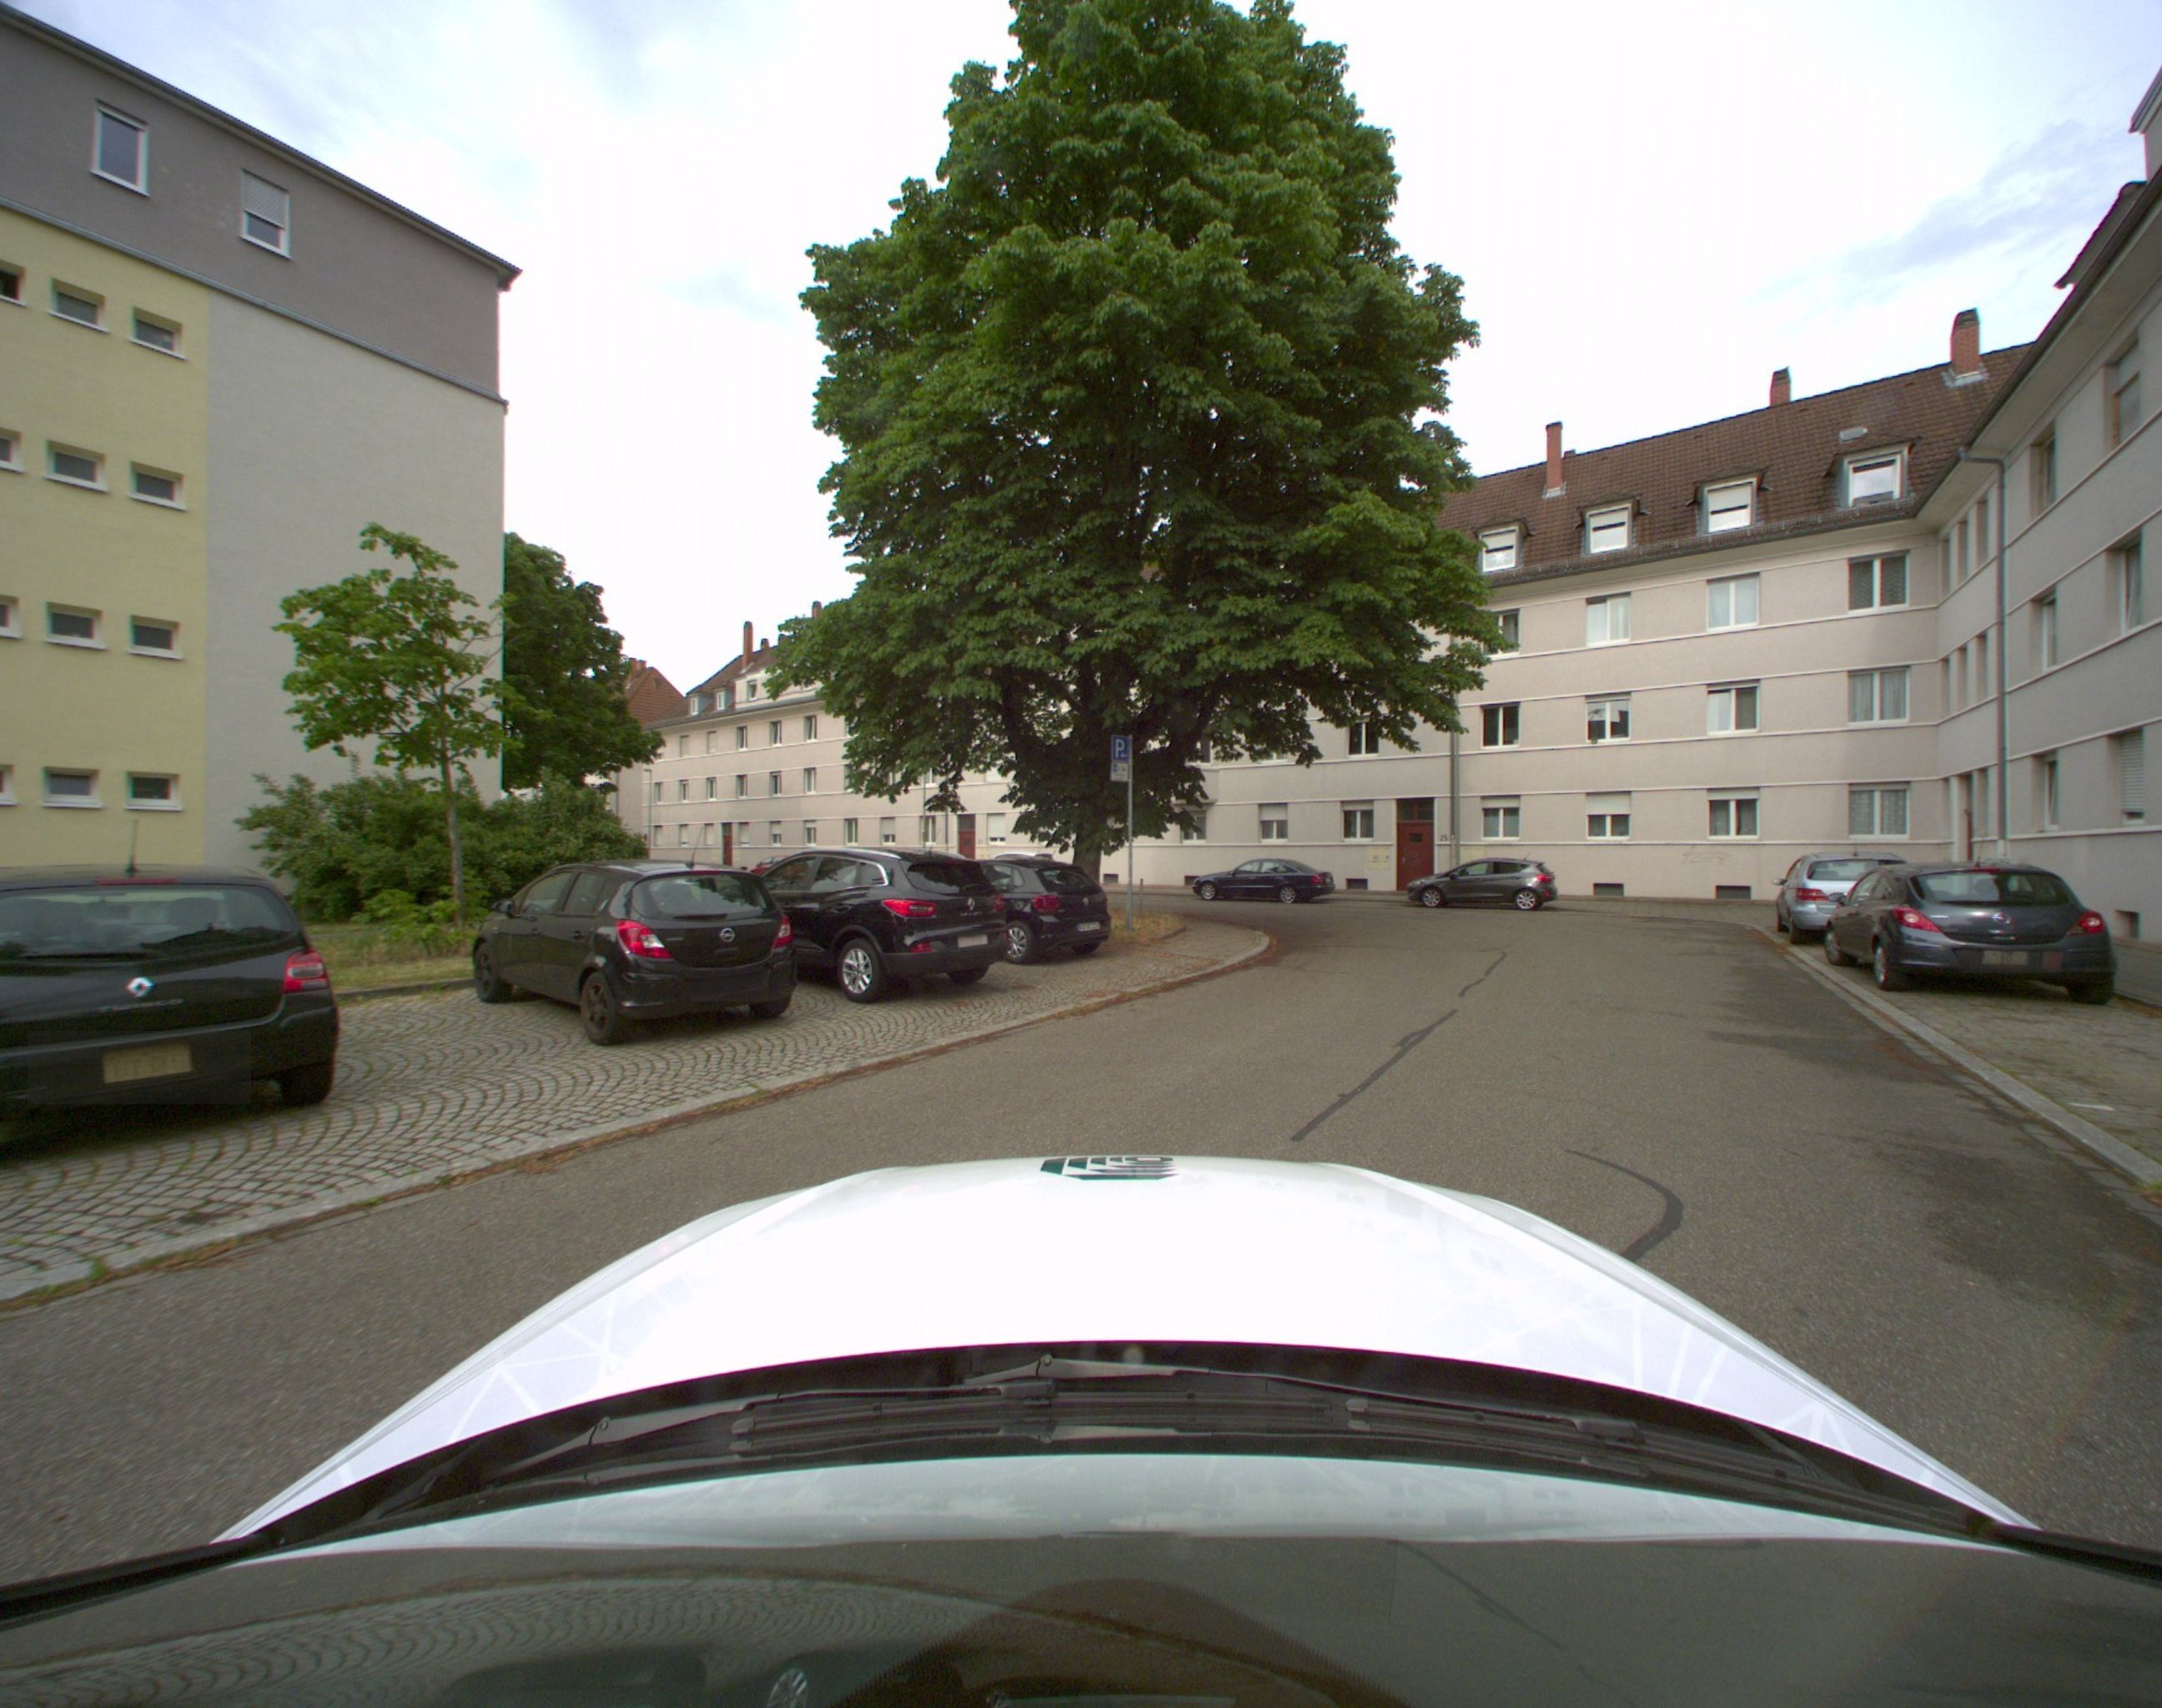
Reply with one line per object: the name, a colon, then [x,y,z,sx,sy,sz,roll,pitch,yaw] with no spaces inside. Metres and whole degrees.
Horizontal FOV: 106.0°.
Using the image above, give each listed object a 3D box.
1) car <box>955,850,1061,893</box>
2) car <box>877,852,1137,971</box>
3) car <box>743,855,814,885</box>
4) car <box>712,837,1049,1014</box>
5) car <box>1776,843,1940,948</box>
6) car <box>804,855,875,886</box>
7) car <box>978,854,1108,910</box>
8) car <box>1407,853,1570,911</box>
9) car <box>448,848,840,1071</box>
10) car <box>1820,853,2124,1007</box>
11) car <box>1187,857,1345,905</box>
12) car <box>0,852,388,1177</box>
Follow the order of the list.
car: [-3.125,0.703,34.618,4.234,1.673,1.860,0,1,33]
car: [-1.218,0.761,12.666,3.793,1.577,1.842,0,0,38]
car: [-16.190,0.817,43.523,3.776,1.525,1.713,0,1,36]
car: [-2.552,0.680,9.924,4.016,1.697,1.928,1,0,39]
car: [13.943,0.667,14.846,1.740,1.627,4.226,0,-1,38]
car: [-12.035,0.797,40.515,3.648,1.473,1.582,0,0,37]
car: [-1.130,0.772,23.401,3.545,1.494,1.539,0,-3,38]
car: [11.806,0.742,23.659,4.026,1.525,1.774,0,1,34]
car: [-4.448,0.767,8.012,4.301,1.566,1.853,1,0,39]
car: [10.583,0.760,10.037,1.740,1.489,3.961,0,-1,36]
car: [6.188,0.839,27.473,4.886,1.420,1.762,0,1,34]
car: [-6.562,0.763,5.654,4.502,1.463,1.853,1,0,39]
